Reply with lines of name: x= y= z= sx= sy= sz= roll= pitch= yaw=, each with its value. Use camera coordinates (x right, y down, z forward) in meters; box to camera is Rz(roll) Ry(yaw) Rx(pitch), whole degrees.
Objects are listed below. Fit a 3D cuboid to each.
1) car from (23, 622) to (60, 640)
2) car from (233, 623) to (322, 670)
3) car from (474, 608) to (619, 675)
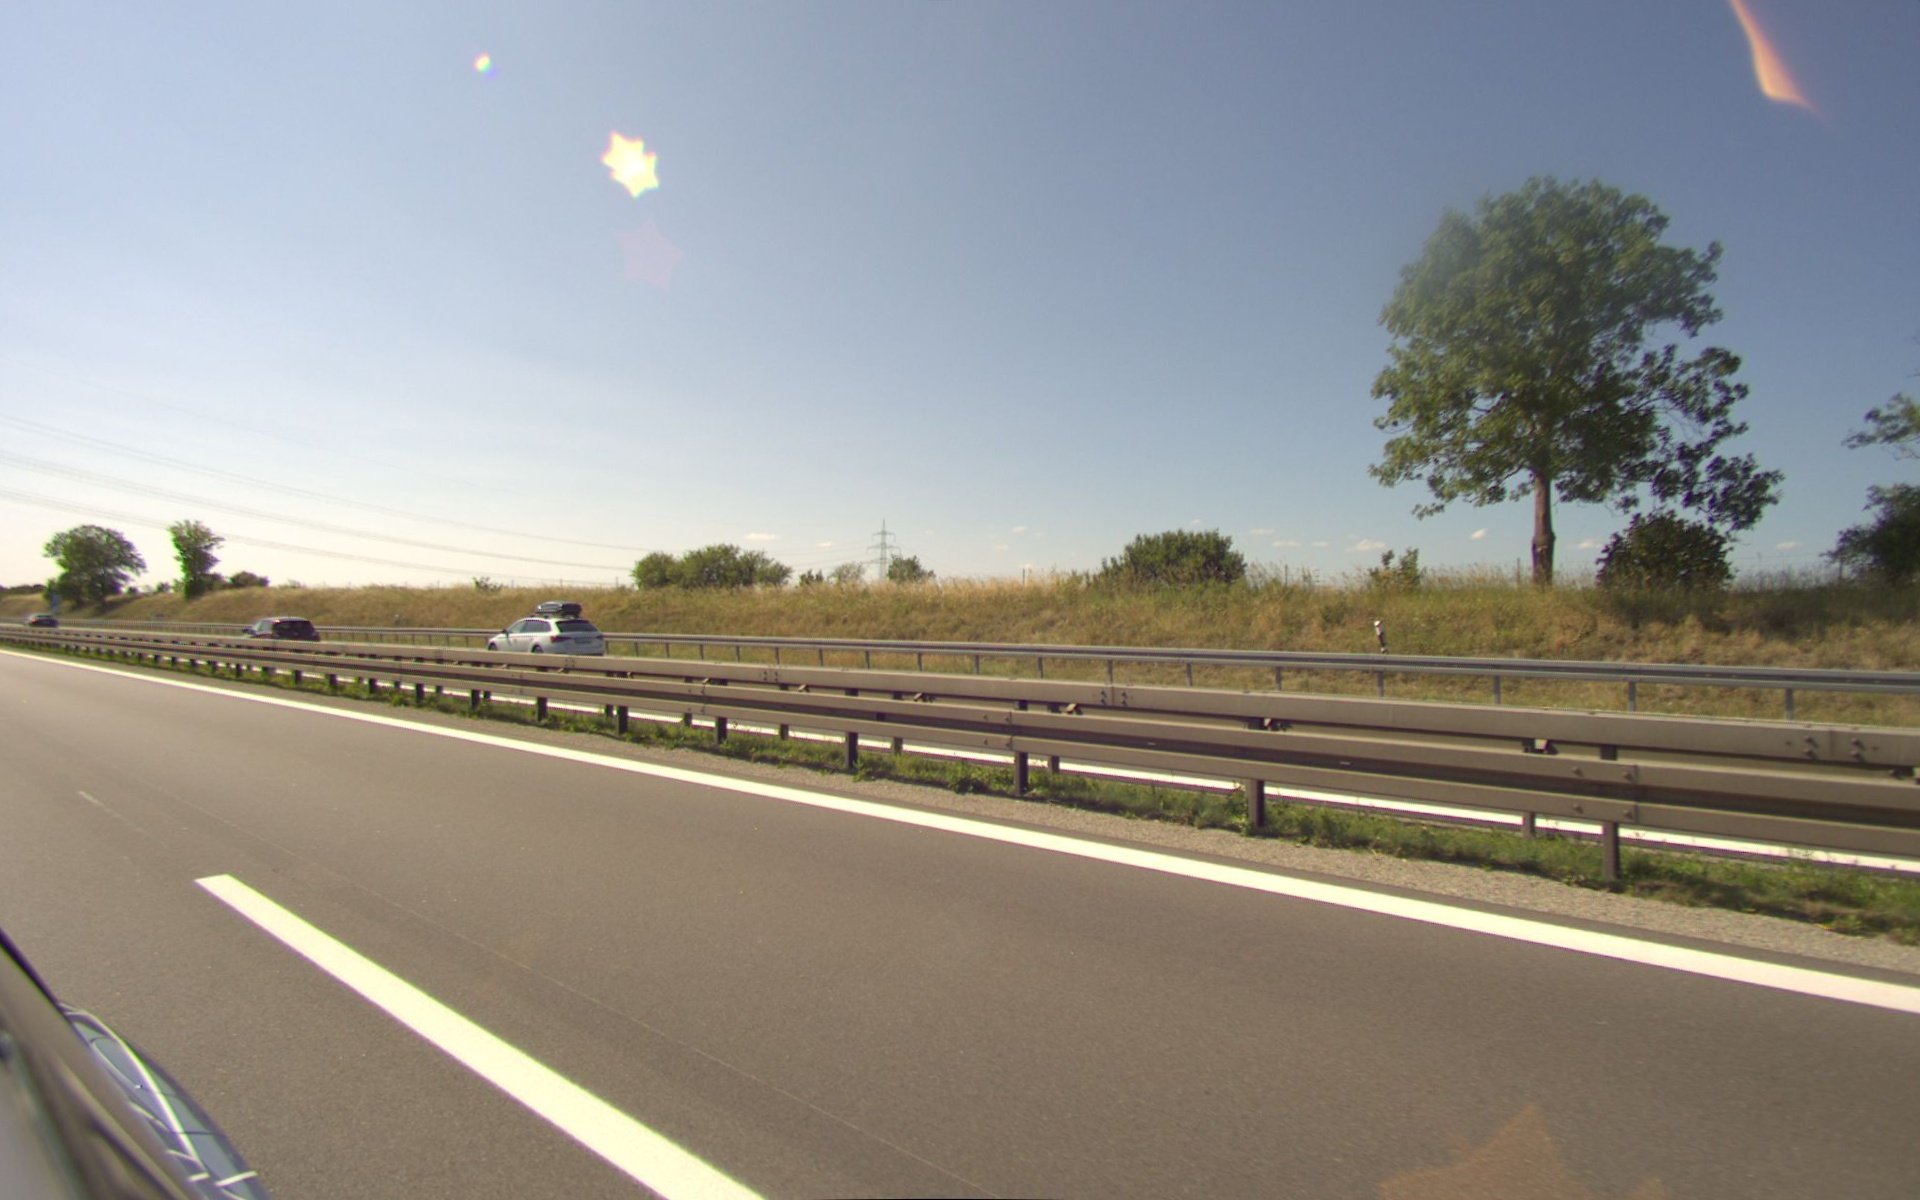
car: x=-78.613 y=2.654 z=86.621 sx=5.238 sy=1.478 sz=1.707 roll=-1 pitch=-2 yaw=41
car: x=-23.972 y=1.592 z=35.506 sx=3.998 sy=1.542 sz=1.599 roll=-1 pitch=-2 yaw=41
car: x=-12.538 y=1.198 z=30.524 sx=5.181 sy=1.859 sz=1.925 roll=-1 pitch=-2 yaw=41
